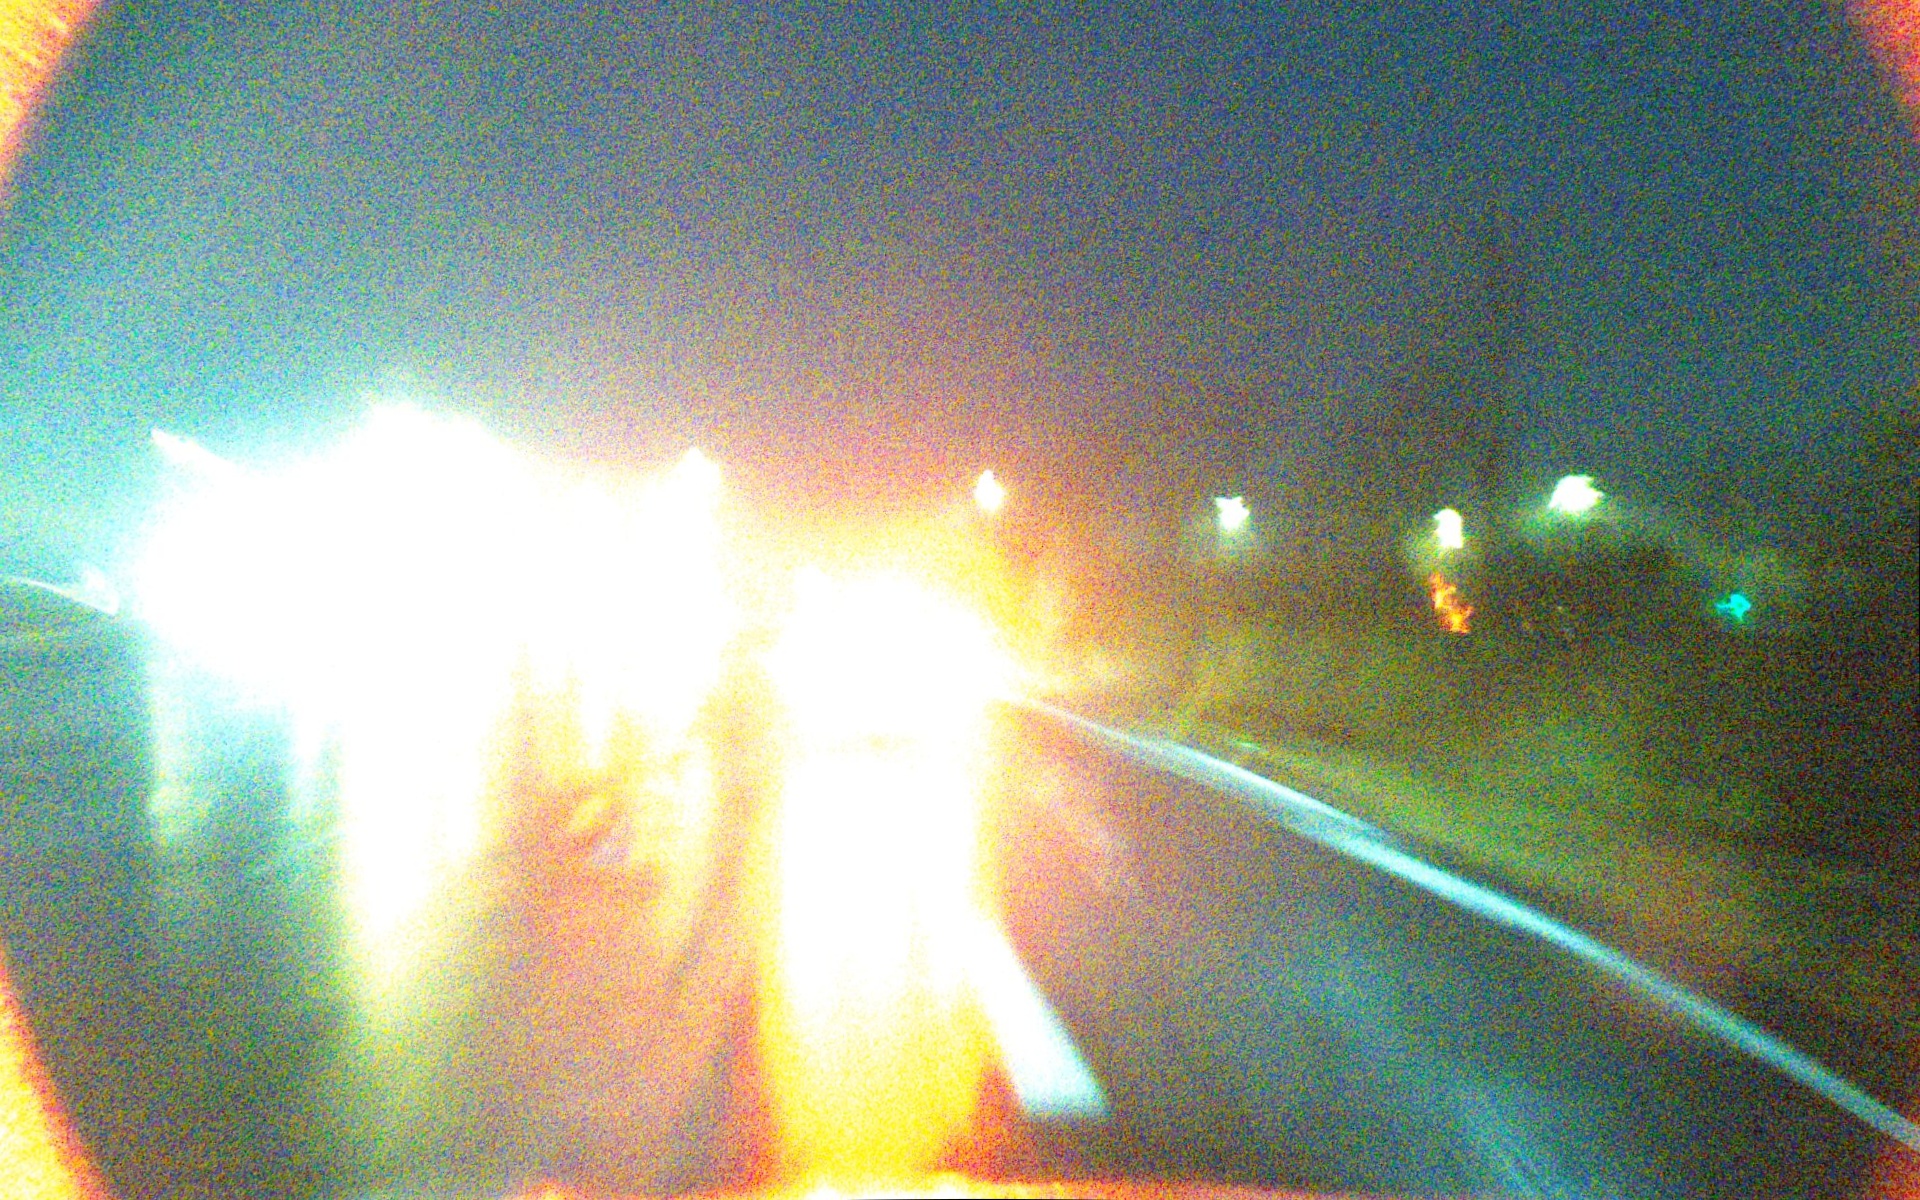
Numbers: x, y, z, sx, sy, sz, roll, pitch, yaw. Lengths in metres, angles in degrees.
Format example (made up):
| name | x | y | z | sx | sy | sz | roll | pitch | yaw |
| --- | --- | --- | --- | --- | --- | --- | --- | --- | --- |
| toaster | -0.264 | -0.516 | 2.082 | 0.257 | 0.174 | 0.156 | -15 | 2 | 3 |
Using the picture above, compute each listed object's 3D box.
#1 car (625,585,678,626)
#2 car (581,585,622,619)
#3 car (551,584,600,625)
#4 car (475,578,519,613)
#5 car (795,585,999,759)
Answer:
| name | x | y | z | sx | sy | sz | roll | pitch | yaw |
| --- | --- | --- | --- | --- | --- | --- | --- | --- | --- |
| car | -13.749 | 0.197 | 73.529 | 1.960 | 1.656 | 4.965 | -2 | 1 | -15 |
| car | -19.169 | 0.092 | 88.304 | 1.960 | 1.656 | 4.965 | -2 | 1 | -15 |
| car | -17.095 | 0.157 | 73.434 | 1.960 | 1.656 | 4.965 | -2 | 1 | -15 |
| car | -23.351 | -0.259 | 83.562 | 1.960 | 1.656 | 4.965 | -2 | 1 | -15 |
| car | -0.786 | 0.733 | 18.519 | 1.954 | 1.656 | 4.980 | 1 | -1 | -4 |
